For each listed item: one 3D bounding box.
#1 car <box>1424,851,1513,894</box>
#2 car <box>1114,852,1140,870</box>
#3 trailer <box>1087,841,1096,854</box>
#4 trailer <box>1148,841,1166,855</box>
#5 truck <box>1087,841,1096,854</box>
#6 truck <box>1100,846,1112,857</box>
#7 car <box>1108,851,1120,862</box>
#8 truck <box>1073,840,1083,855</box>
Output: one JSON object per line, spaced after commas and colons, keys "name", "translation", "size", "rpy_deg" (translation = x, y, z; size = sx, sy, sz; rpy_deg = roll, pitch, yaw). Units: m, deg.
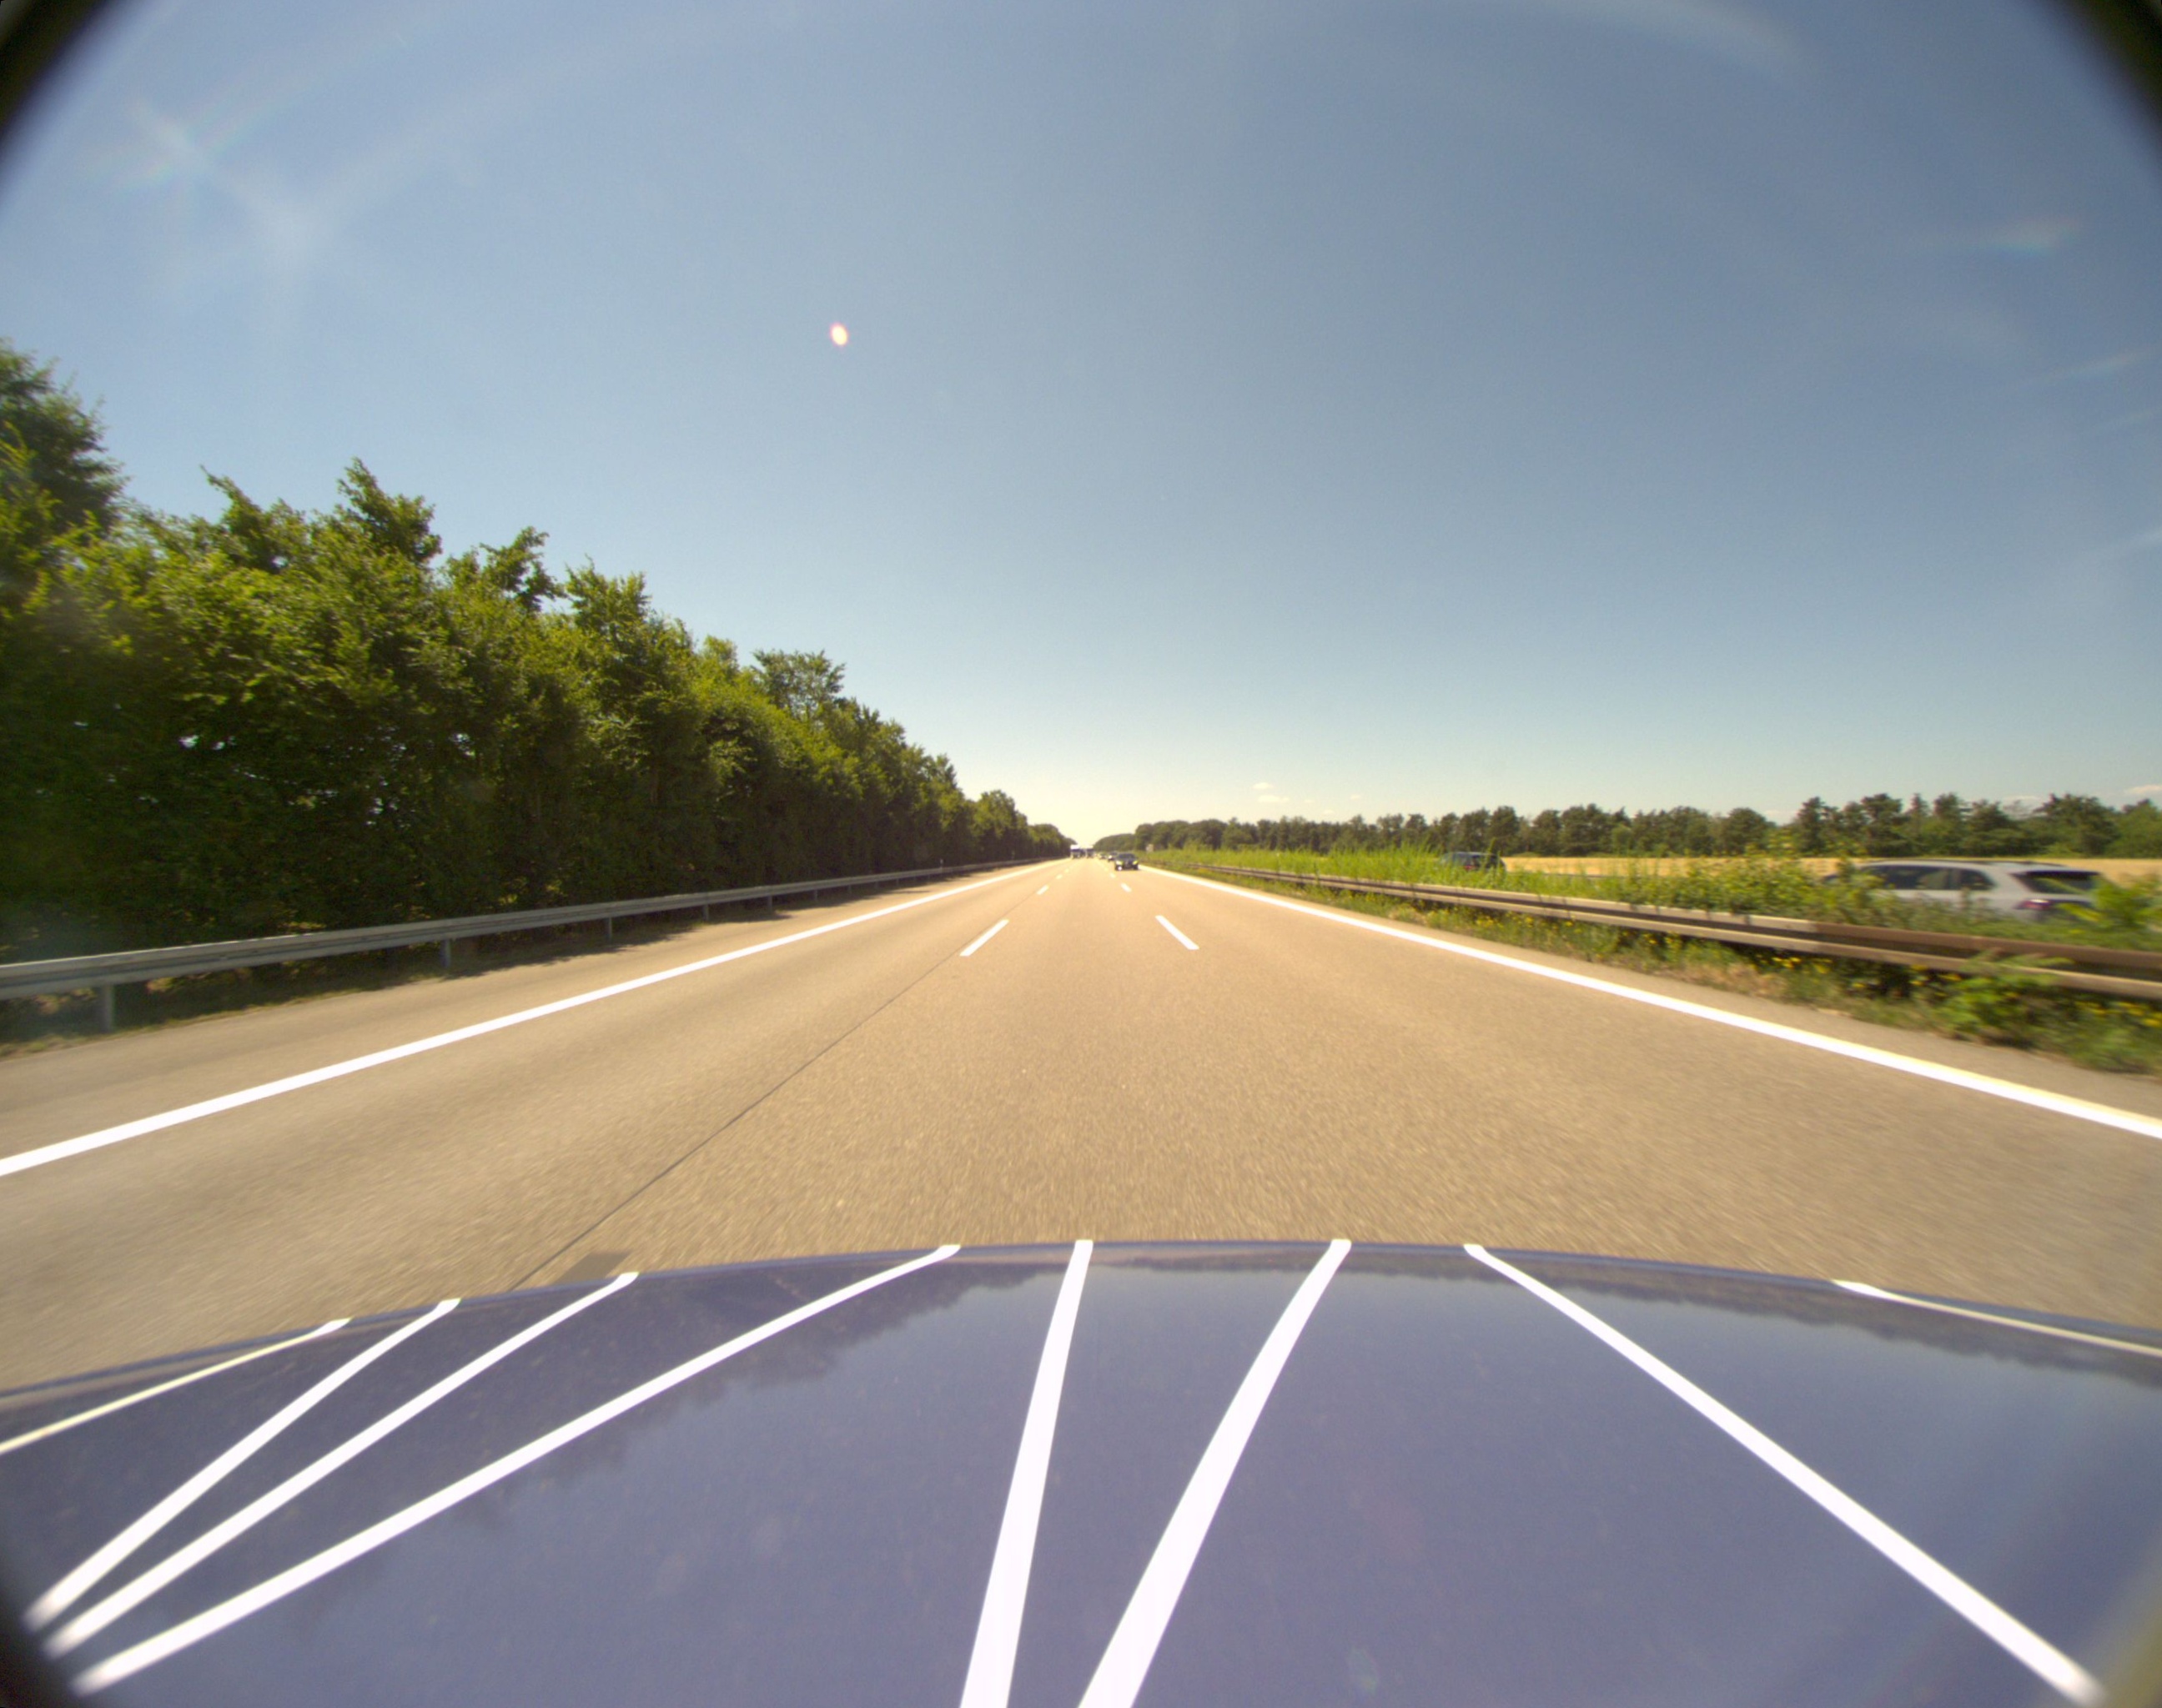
{"name": "car", "translation": [16.438, 0.733, 32.433], "size": [1.810, 1.674, 4.000], "rpy_deg": [0, 0, 1]}
{"name": "car", "translation": [3.807, 0.571, 63.124], "size": [1.811, 1.399, 3.999], "rpy_deg": [-3, 0, 0]}
{"name": "trailer", "translation": [3.413, -2.121, 250.297], "size": [2.863, 4.247, 11.471], "rpy_deg": [-2, 0, 0]}
{"name": "trailer", "translation": [21.116, -1.701, 211.827], "size": [3.358, 3.677, 14.380], "rpy_deg": [-2, 0, -1]}
{"name": "truck", "translation": [3.382, -2.111, 243.781], "size": [2.863, 4.247, 5.411], "rpy_deg": [-2, 0, 0]}
{"name": "truck", "translation": [5.741, -0.549, 177.333], "size": [2.576, 2.461, 5.614], "rpy_deg": [-2, 0, 0]}
{"name": "car", "translation": [5.268, 0.393, 121.516], "size": [1.806, 1.774, 4.000], "rpy_deg": [-1, 0, 1]}
{"name": "truck", "translation": [-1.016, -1.937, 228.516], "size": [2.863, 4.247, 6.863], "rpy_deg": [-2, 0, 0]}
